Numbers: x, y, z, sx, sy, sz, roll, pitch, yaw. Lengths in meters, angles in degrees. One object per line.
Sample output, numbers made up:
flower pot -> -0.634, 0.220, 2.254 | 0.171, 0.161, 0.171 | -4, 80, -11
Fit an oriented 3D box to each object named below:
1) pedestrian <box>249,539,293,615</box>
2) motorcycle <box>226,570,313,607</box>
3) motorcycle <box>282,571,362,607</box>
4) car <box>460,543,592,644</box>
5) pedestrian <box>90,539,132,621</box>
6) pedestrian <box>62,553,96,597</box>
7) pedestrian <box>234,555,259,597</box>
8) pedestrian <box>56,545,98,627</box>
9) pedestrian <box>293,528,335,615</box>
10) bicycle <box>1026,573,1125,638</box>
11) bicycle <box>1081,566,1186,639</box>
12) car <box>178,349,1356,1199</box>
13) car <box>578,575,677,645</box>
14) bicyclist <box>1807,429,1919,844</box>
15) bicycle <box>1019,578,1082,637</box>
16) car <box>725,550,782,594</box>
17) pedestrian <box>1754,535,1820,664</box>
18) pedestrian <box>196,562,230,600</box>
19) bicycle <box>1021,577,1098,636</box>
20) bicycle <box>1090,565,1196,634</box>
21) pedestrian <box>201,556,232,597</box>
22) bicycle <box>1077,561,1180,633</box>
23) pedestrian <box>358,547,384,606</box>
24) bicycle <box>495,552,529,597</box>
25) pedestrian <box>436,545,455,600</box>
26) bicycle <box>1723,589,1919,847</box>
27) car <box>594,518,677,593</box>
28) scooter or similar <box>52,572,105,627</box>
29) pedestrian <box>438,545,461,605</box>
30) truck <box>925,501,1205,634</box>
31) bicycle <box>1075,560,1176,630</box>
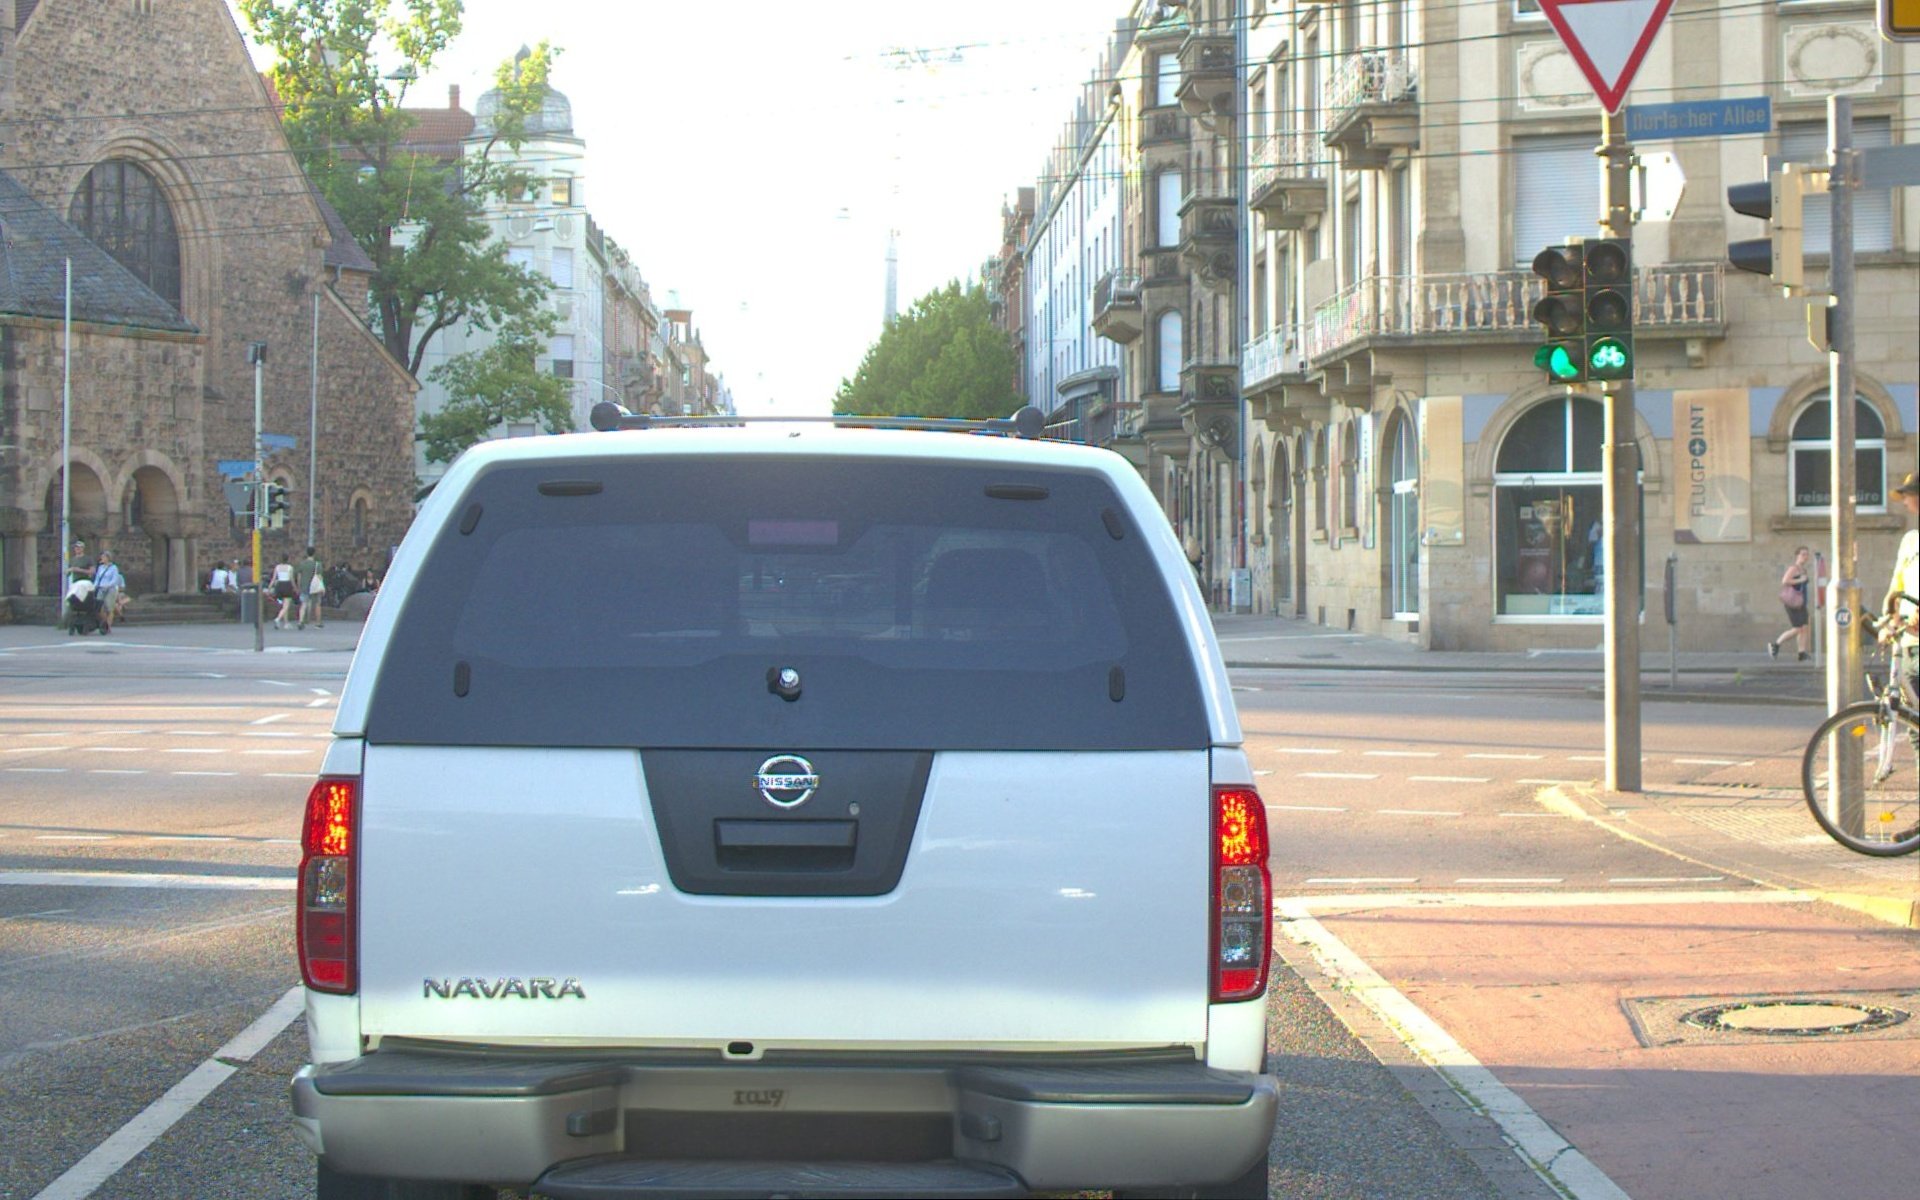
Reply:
pedestrian -> -15.201, -0.507, 75.839 | 0.812, 1.664, 0.860 | 1, 0, -3
motorcycle -> -18.821, -0.305, 93.726 | 2.243, 0.984, 0.708 | 1, 0, -6
motorcycle -> -17.825, -0.300, 96.015 | 2.167, 0.984, 0.593 | 1, 0, 19
car -> -8.122, -0.160, 64.701 | 1.993, 1.778, 4.798 | 1, 1, -2
pedestrian -> -17.587, -0.413, 71.193 | 0.634, 1.693, 0.602 | 1, 0, 10
pedestrian -> -19.215, -0.549, 74.971 | 0.522, 0.957, 0.479 | 1, 0, 19
pedestrian -> -16.682, -0.560, 80.379 | 0.521, 0.957, 0.479 | 1, 0, -16
pedestrian -> -18.288, -0.293, 71.226 | 0.634, 1.693, 0.602 | 1, 0, 8
pedestrian -> -14.264, -0.632, 75.954 | 0.812, 1.894, 0.666 | 1, 0, -3
bicycle -> 2.110, 0.097, 62.704 | 1.726, 1.080, 0.317 | -3, 0, -2
bicycle -> 3.179, 0.038, 63.180 | 1.817, 1.233, 0.488 | -3, 0, -2
car -> -0.355, 0.482, 7.891 | 1.993, 1.803, 4.000 | 1, 0, -1
car -> -7.806, 0.207, 81.128 | 1.993, 1.552, 4.769 | 1, 1, -1
bicyclist -> 4.315, 0.158, 15.516 | 0.696, 1.818, 0.628 | 1, 0, -33
bicycle -> 1.675, 0.133, 63.587 | 1.076, 1.021, 0.317 | -3, 0, -2
car -> -7.372, -1.003, 122.995 | 1.858, 1.524, 4.000 | 1, 0, -1
pedestrian -> 11.548, -0.008, 47.996 | 0.788, 1.773, 0.543 | 1, 0, 25
pedestrian -> -19.169, -0.494, 88.244 | 0.552, 0.957, 0.709 | 1, 0, 20
bicycle -> 1.859, 0.117, 64.299 | 1.371, 1.021, 0.317 | -3, 0, -2
bicycle -> 3.309, -0.013, 62.240 | 1.817, 1.146, 0.636 | -3, 0, -2
pedestrian -> -17.390, -0.544, 80.407 | 0.522, 0.957, 0.479 | 1, 0, 17
bicycle -> 3.126, -0.060, 63.891 | 1.817, 1.233, 0.478 | -3, 0, -2
pedestrian -> -17.092, -0.687, 99.828 | 0.642, 1.690, 0.562 | 1, 0, -1
bicycle -> -10.636, -0.596, 81.606 | 0.599, 1.040, 1.946 | 1, 0, -2
pedestrian -> -15.948, -0.858, 106.489 | 0.560, 1.690, 0.645 | 1, 0, -8
bicycle -> 4.440, 0.515, 15.598 | 2.065, 1.106, 0.628 | 1, 0, -33
car -> -9.084, -1.276, 96.600 | 1.993, 2.006, 4.951 | -1, 2, -2
scooter or similar -> -17.960, -0.015, 70.033 | 0.634, 1.099, 1.078 | 1, 0, 11
pedestrian -> -15.714, -0.769, 105.832 | 0.642, 1.849, 0.562 | 1, 0, -15
truck -> 2.144, -0.648, 68.795 | 5.658, 2.556, 2.286 | 0, 1, -44
bicycle -> 3.138, -0.098, 65.222 | 1.817, 1.233, 0.410 | -3, 0, -2
